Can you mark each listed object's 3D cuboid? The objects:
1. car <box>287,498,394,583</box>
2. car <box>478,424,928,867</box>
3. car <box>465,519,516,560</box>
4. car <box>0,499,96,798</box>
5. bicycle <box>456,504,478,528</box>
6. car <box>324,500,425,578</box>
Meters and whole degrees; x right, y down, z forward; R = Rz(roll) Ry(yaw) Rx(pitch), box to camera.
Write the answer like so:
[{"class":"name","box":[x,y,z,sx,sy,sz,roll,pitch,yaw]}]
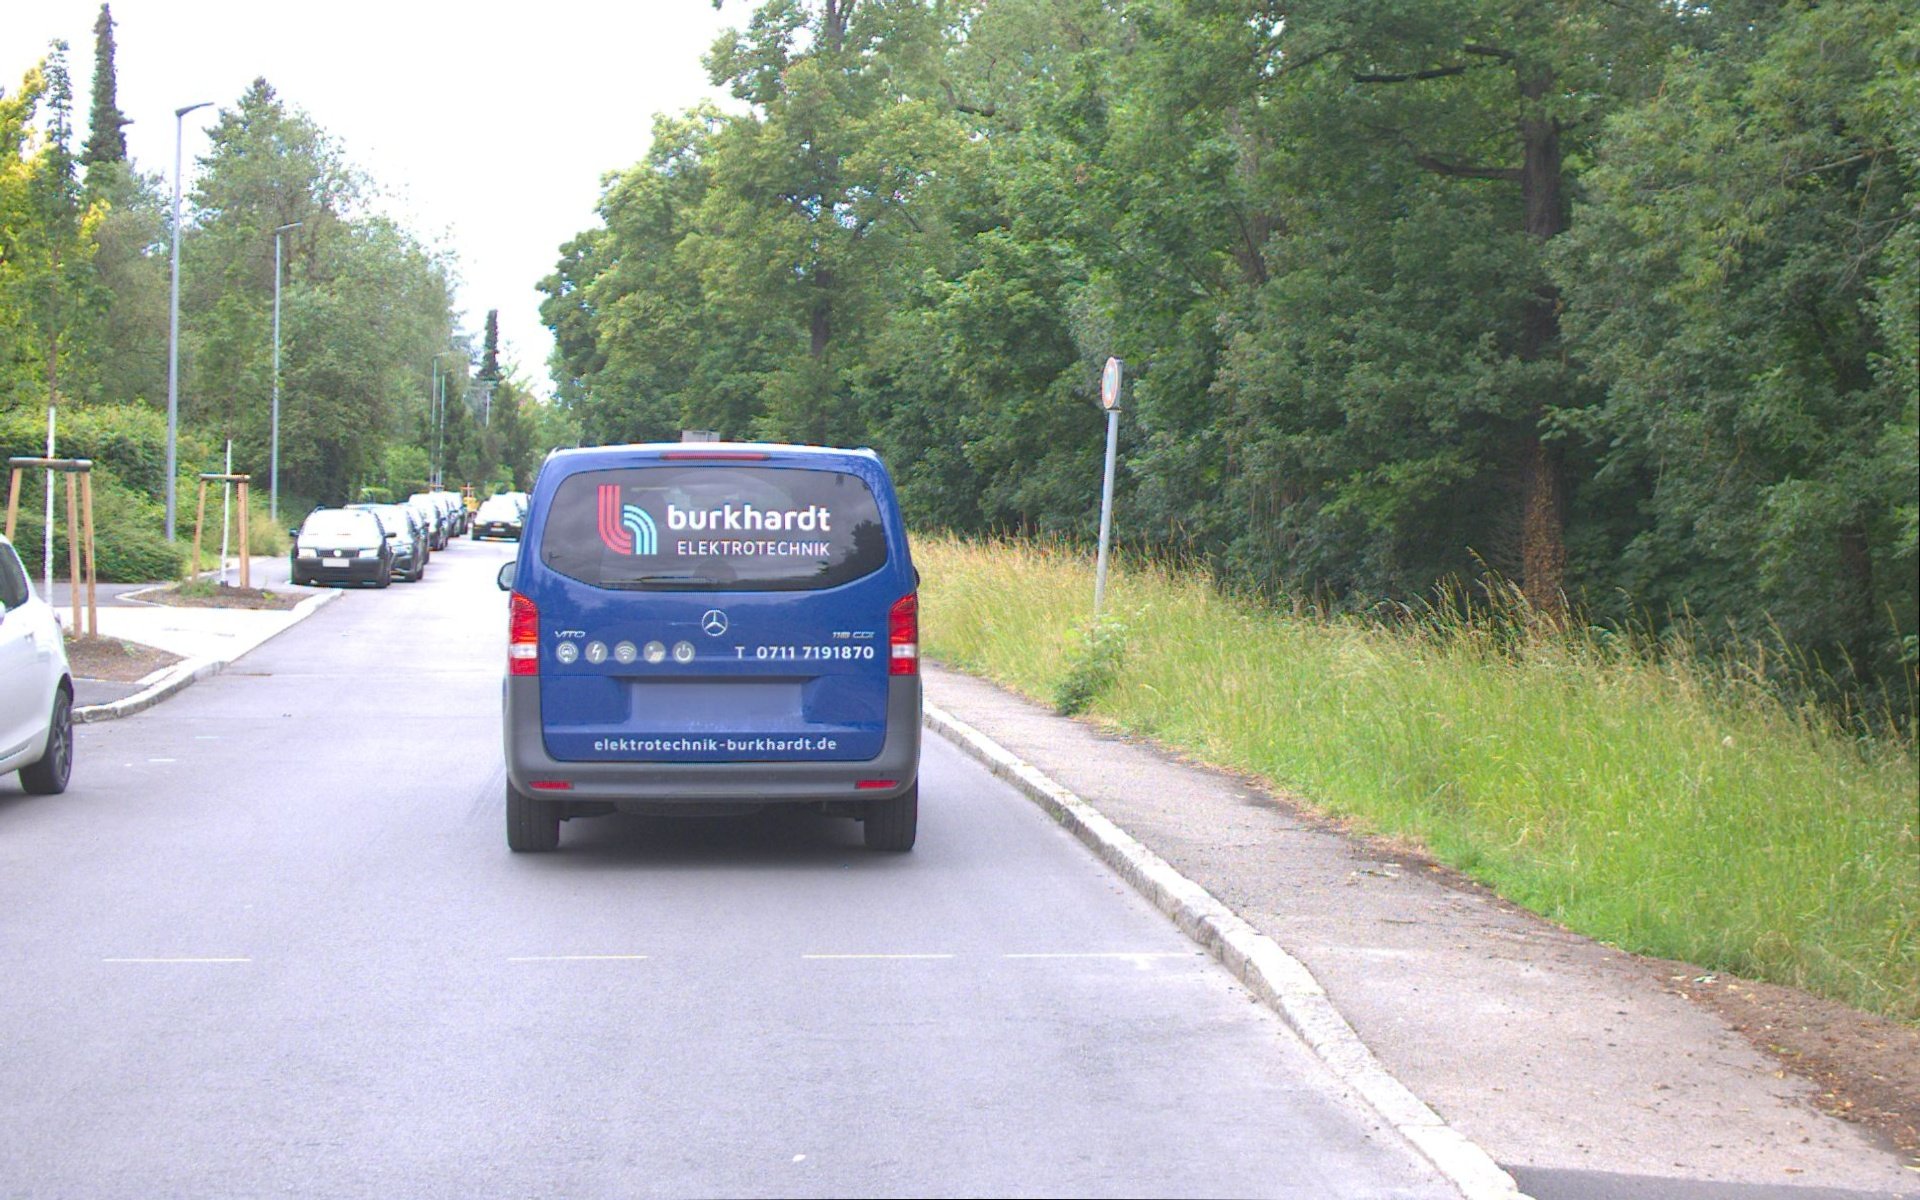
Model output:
[{"class":"car","box":[-11.480,-1.122,63.930,1.682,1.477,4.694,2,1,-7]},{"class":"car","box":[-1.310,0.088,16.666,1.888,1.837,4.002,-1,3,-6]},{"class":"car","box":[-17.561,-2.278,128.553,1.780,1.421,4.491,3,1,-8]},{"class":"car","box":[-5.560,0.220,17.381,1.642,1.464,4.071,1,1,-5]},{"class":"bicycle","box":[-27.539,-4.692,192.008,0.906,1.247,2.916,5,1,-4]},{"class":"car","box":[-11.708,-1.241,68.910,1.706,1.477,4.497,2,1,-7]}]
